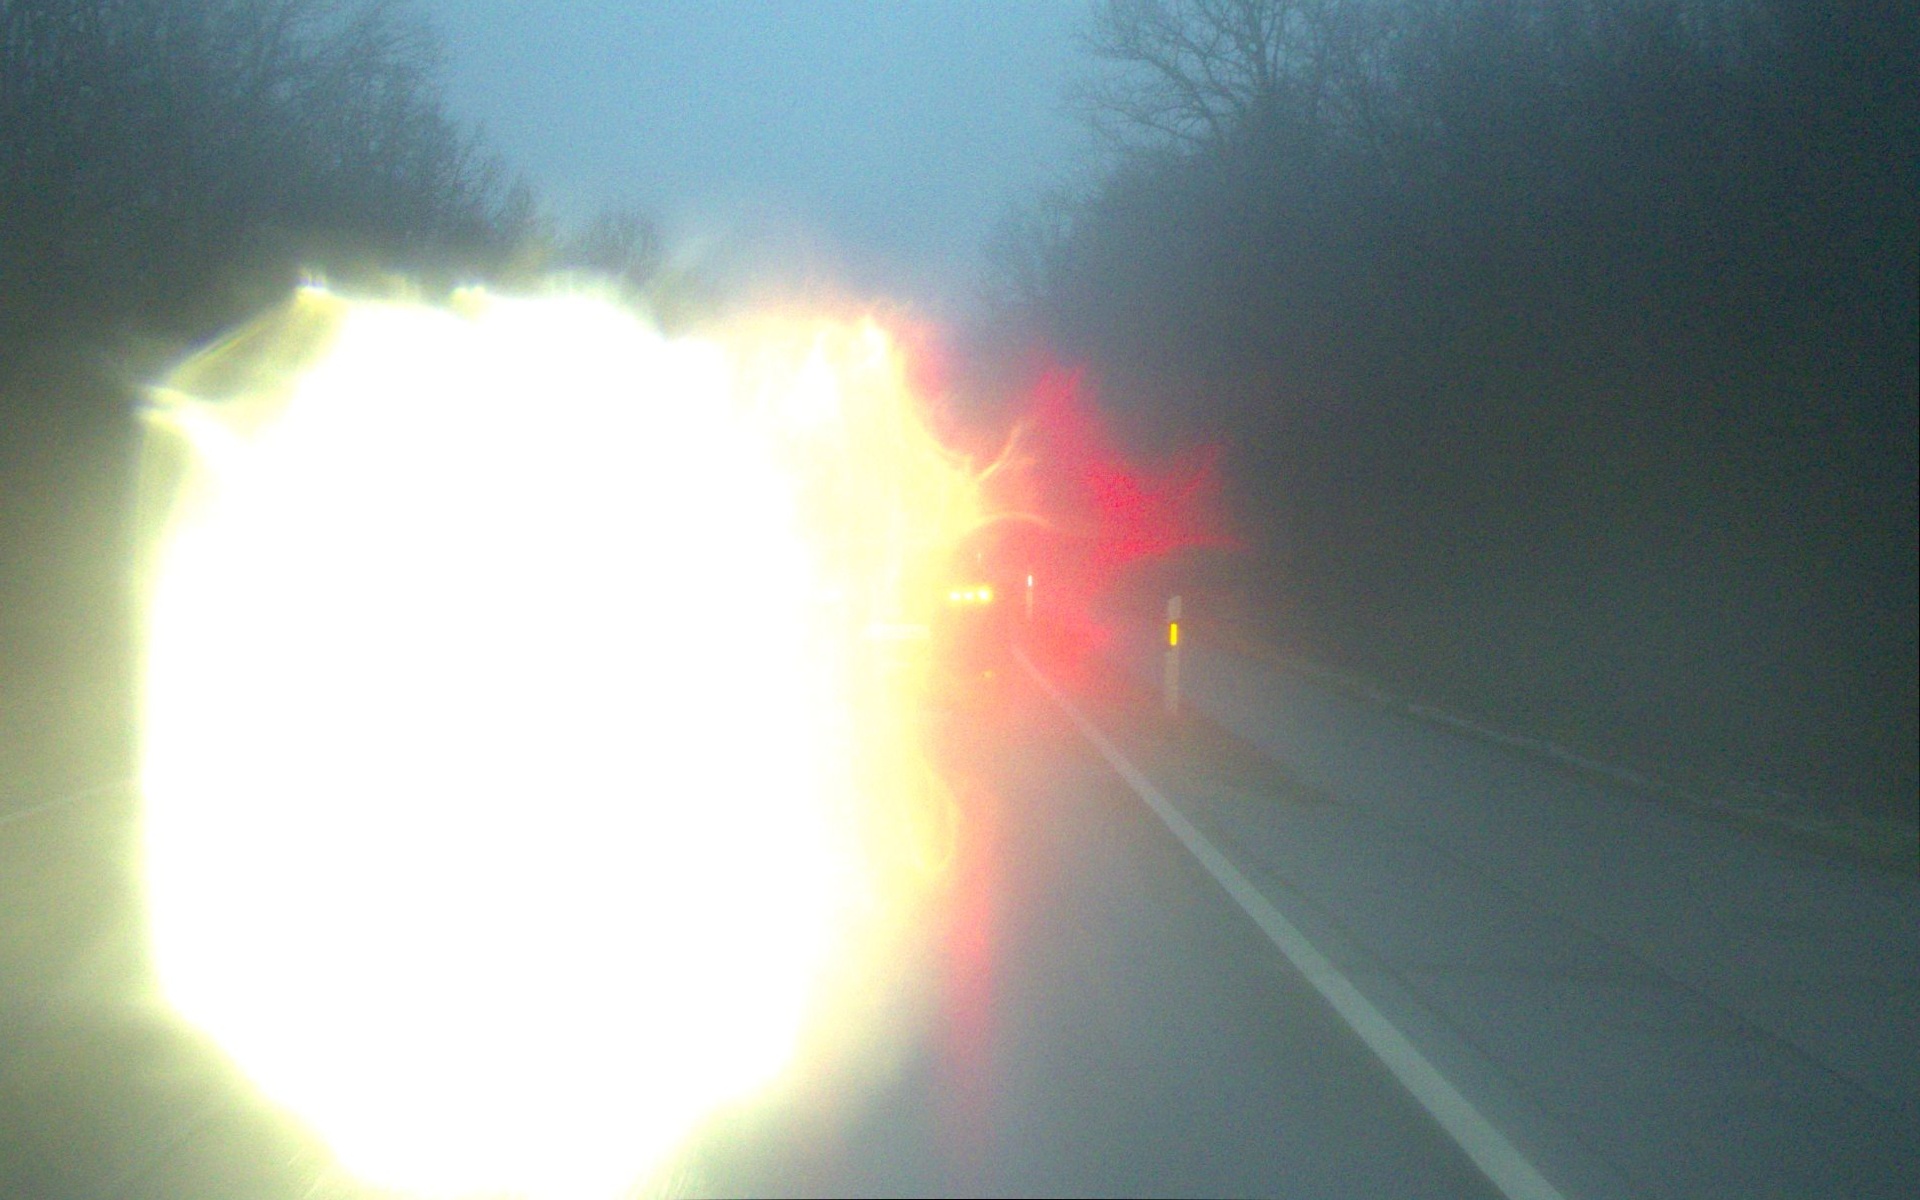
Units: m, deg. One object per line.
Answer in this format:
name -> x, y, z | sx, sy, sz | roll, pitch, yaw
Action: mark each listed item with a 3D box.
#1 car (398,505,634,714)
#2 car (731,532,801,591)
car -> -4.206, 0.058, 33.138 | 1.706, 1.816, 4.286 | -2, 1, -1
car -> -4.832, -0.984, 86.079 | 1.618, 1.384, 4.072 | -1, 1, -2
